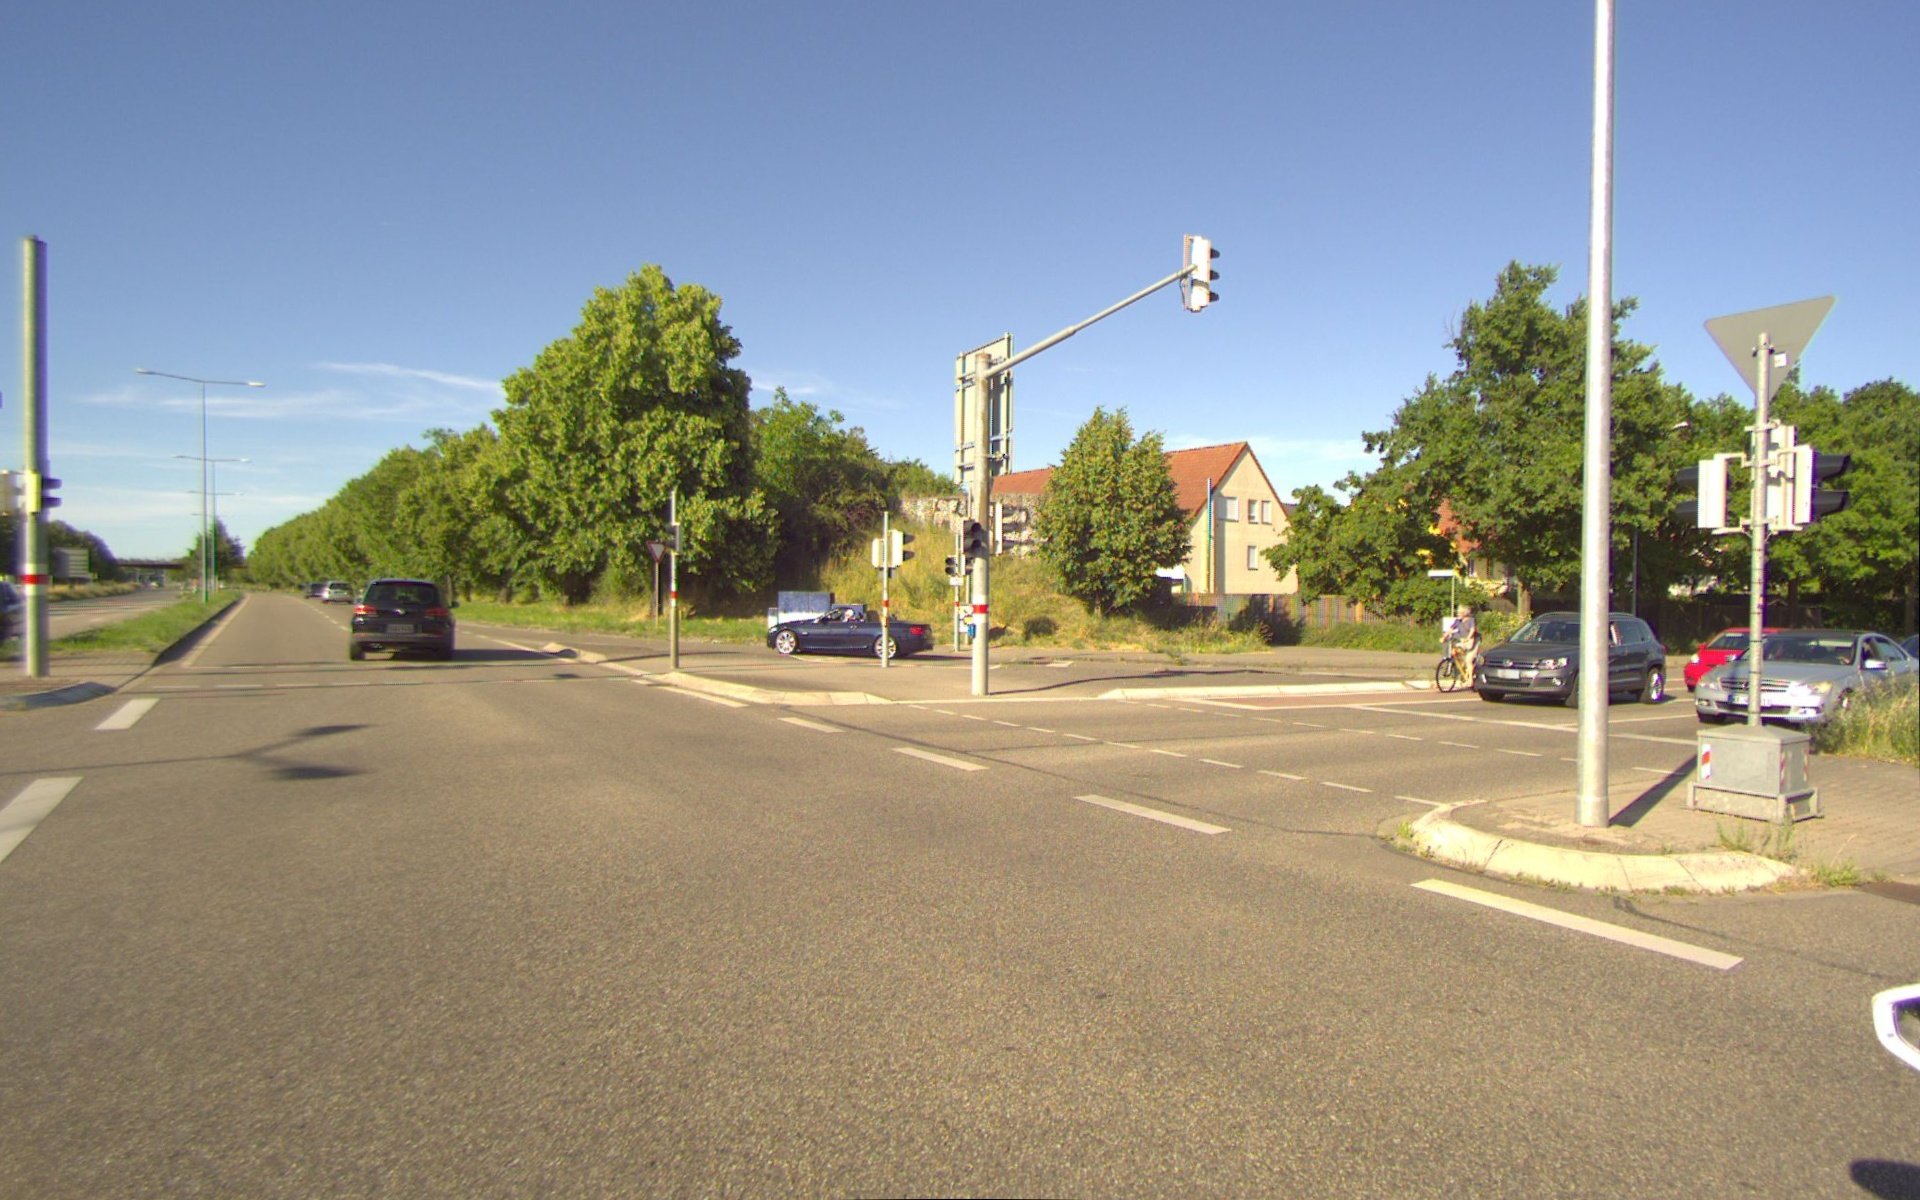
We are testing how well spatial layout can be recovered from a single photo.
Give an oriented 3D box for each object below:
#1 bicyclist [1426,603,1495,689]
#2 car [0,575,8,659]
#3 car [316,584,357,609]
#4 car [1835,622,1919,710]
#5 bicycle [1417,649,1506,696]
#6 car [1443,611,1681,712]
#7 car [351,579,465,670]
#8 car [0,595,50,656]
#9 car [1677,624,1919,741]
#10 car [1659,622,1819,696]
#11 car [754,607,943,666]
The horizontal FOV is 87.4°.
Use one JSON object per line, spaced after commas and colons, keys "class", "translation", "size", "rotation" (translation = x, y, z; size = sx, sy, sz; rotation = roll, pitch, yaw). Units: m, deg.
{"class": "bicyclist", "translation": [10.416, 0.940, 20.887], "size": [1.228, 1.725, 0.740], "rotation": [1, 0, -32]}
{"class": "car", "translation": [-19.065, 0.382, 18.259], "size": [1.874, 1.666, 4.000], "rotation": [-2, 2, -35]}
{"class": "car", "translation": [-43.587, -0.232, 70.158], "size": [2.028, 1.638, 4.371], "rotation": [-2, 2, -37]}
{"class": "car", "translation": [18.253, 1.183, 18.811], "size": [3.843, 1.503, 1.738], "rotation": [1, 0, -31]}
{"class": "bicycle", "translation": [10.447, 1.489, 20.919], "size": [1.968, 0.859, 0.745], "rotation": [0, 1, -32]}
{"class": "car", "translation": [11.334, 1.051, 18.848], "size": [4.478, 1.666, 1.983], "rotation": [1, 0, -31]}
{"class": "car", "translation": [-11.784, 0.432, 21.336], "size": [1.813, 1.649, 3.962], "rotation": [0, 2, -33]}
{"class": "car", "translation": [-22.066, 0.556, 22.517], "size": [1.874, 1.292, 4.000], "rotation": [-2, 2, -35]}
{"class": "car", "translation": [13.166, 1.161, 15.524], "size": [4.478, 1.526, 1.784], "rotation": [1, 0, -31]}
{"class": "car", "translation": [17.486, 1.259, 22.522], "size": [3.671, 1.503, 1.637], "rotation": [1, 0, -31]}
{"class": "car", "translation": [-2.937, 0.948, 26.941], "size": [4.588, 1.327, 2.049], "rotation": [2, -1, 13]}
